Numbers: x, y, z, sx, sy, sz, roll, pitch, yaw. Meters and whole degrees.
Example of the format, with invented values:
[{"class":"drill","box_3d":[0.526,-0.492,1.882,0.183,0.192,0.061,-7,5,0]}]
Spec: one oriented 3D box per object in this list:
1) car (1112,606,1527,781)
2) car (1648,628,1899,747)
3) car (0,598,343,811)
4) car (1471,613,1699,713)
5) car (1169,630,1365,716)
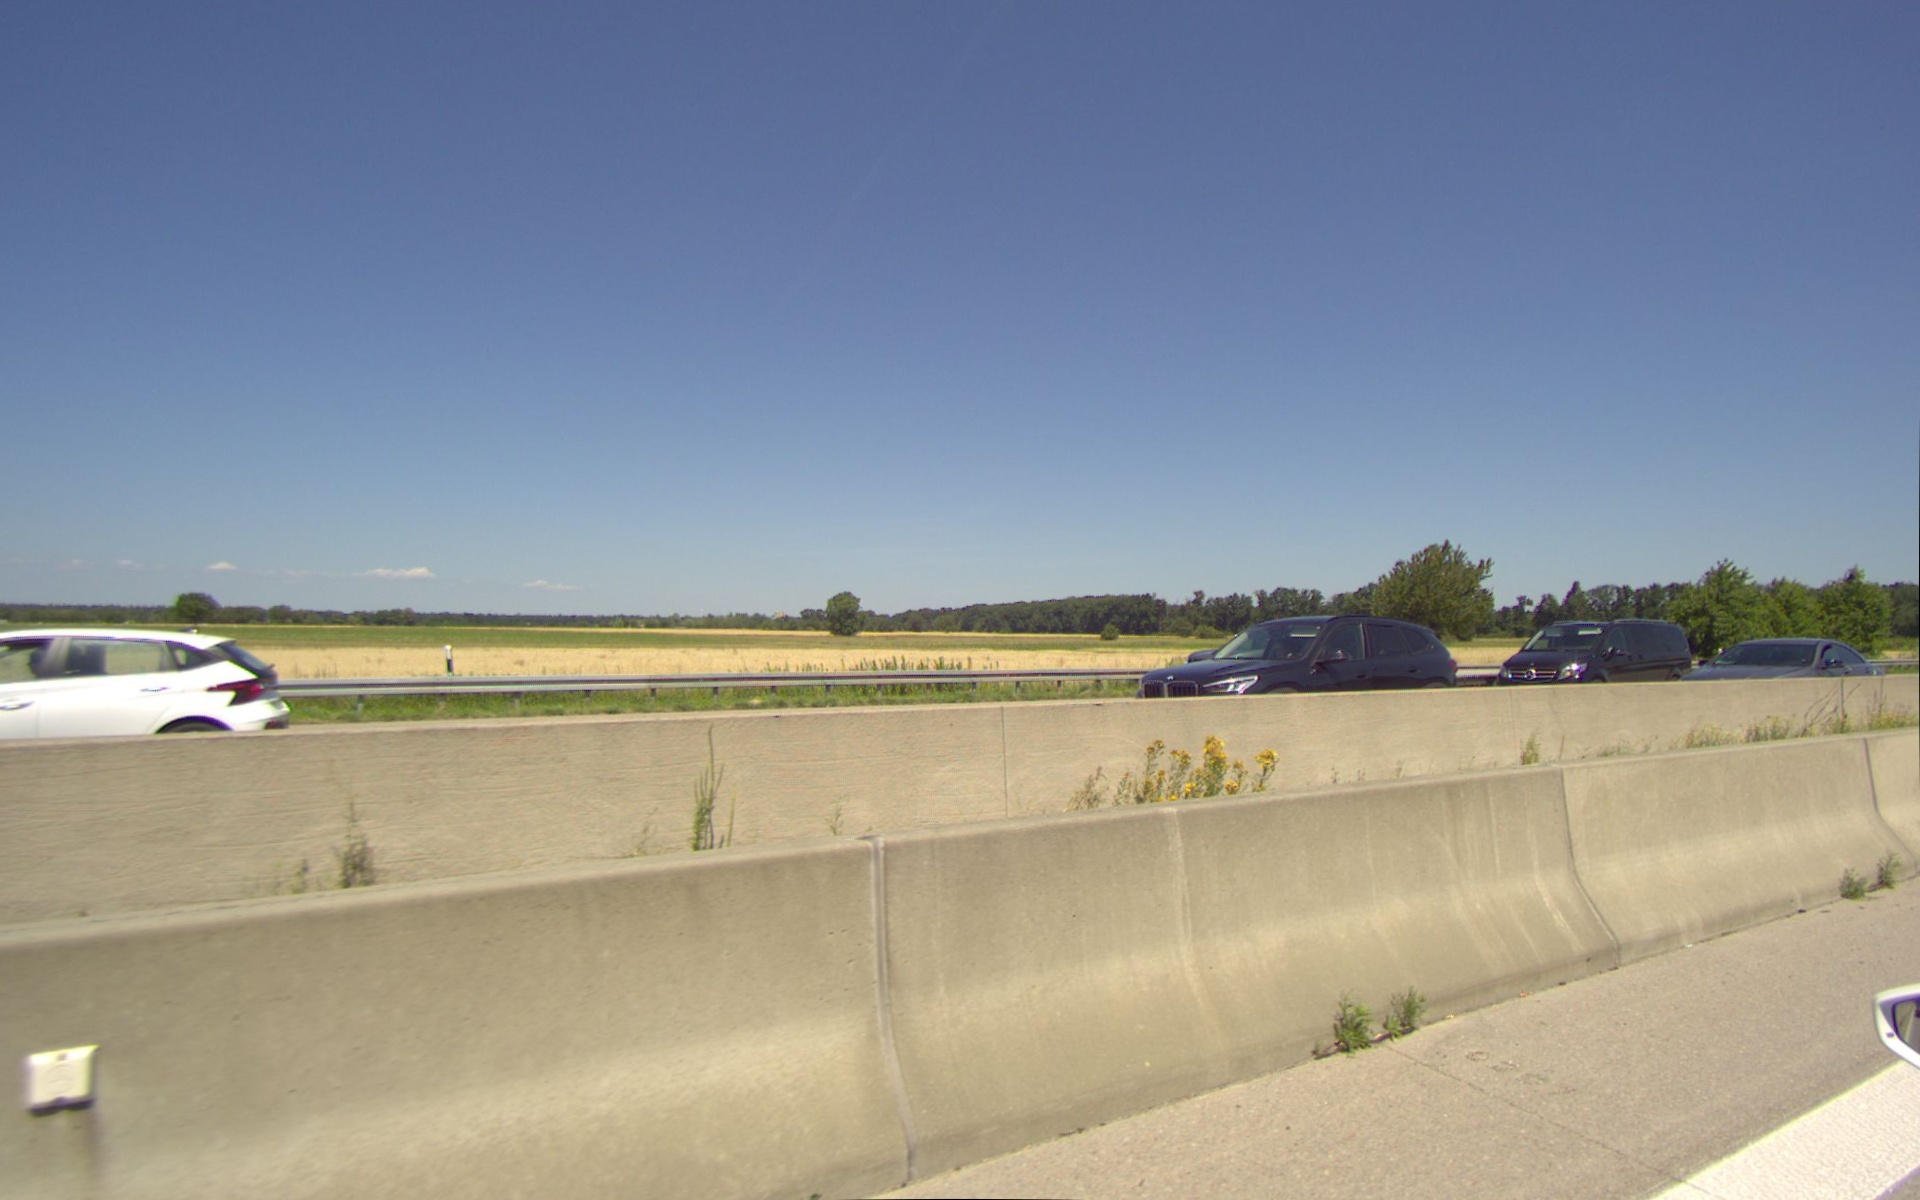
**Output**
[{"class":"car","box_3d":[4.450,1.012,12.243,4.969,1.740,1.985,2,0,-29]},{"class":"car","box_3d":[13.867,1.399,17.105,3.952,1.740,1.985,1,0,-29]},{"class":"car","box_3d":[-8.403,0.874,9.248,4.561,1.740,1.983,2,0,-32]},{"class":"car","box_3d":[13.620,1.308,21.816,5.121,1.903,1.985,1,0,-29]},{"class":"car","box_3d":[7.079,1.609,23.066,4.253,1.740,1.983,1,0,-32]}]
